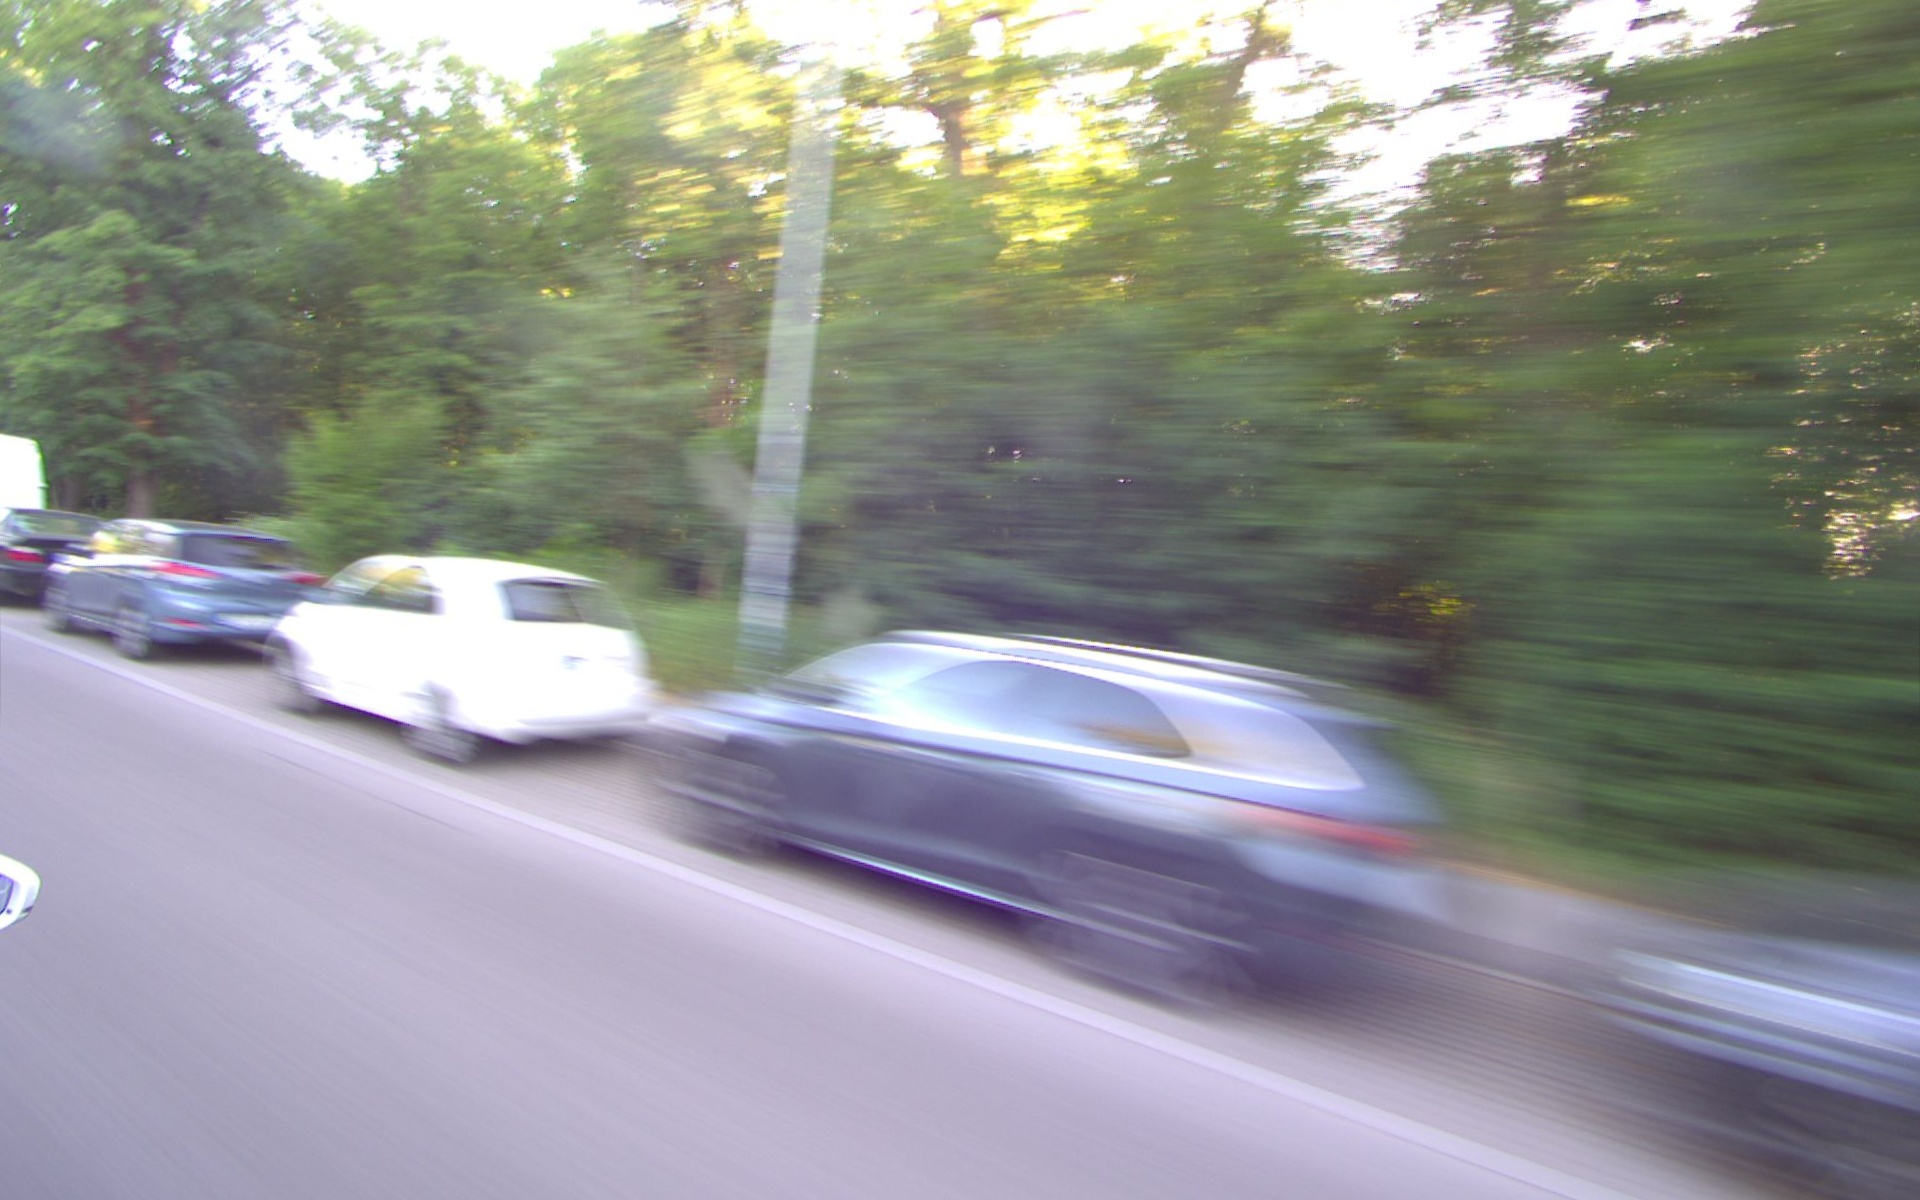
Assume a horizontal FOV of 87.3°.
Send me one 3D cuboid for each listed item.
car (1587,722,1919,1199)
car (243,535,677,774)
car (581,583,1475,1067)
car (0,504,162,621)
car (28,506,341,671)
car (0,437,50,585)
[{"bbox_3d":[4.456,1.428,2.834,4.413,1.429,1.720,6,0,32],"label":"car"},{"bbox_3d":[-4.391,0.374,8.708,3.629,1.482,1.678,6,0,33],"label":"car"},{"bbox_3d":[0.115,0.879,5.802,4.827,1.429,1.719,6,0,33],"label":"car"},{"bbox_3d":[-13.816,-0.661,14.975,4.576,1.418,1.678,6,0,34],"label":"car"},{"bbox_3d":[-9.163,-0.164,11.800,4.002,1.482,1.678,6,0,34],"label":"car"},{"bbox_3d":[-18.682,-1.783,18.298,5.489,2.453,1.904,6,0,35],"label":"car"}]
